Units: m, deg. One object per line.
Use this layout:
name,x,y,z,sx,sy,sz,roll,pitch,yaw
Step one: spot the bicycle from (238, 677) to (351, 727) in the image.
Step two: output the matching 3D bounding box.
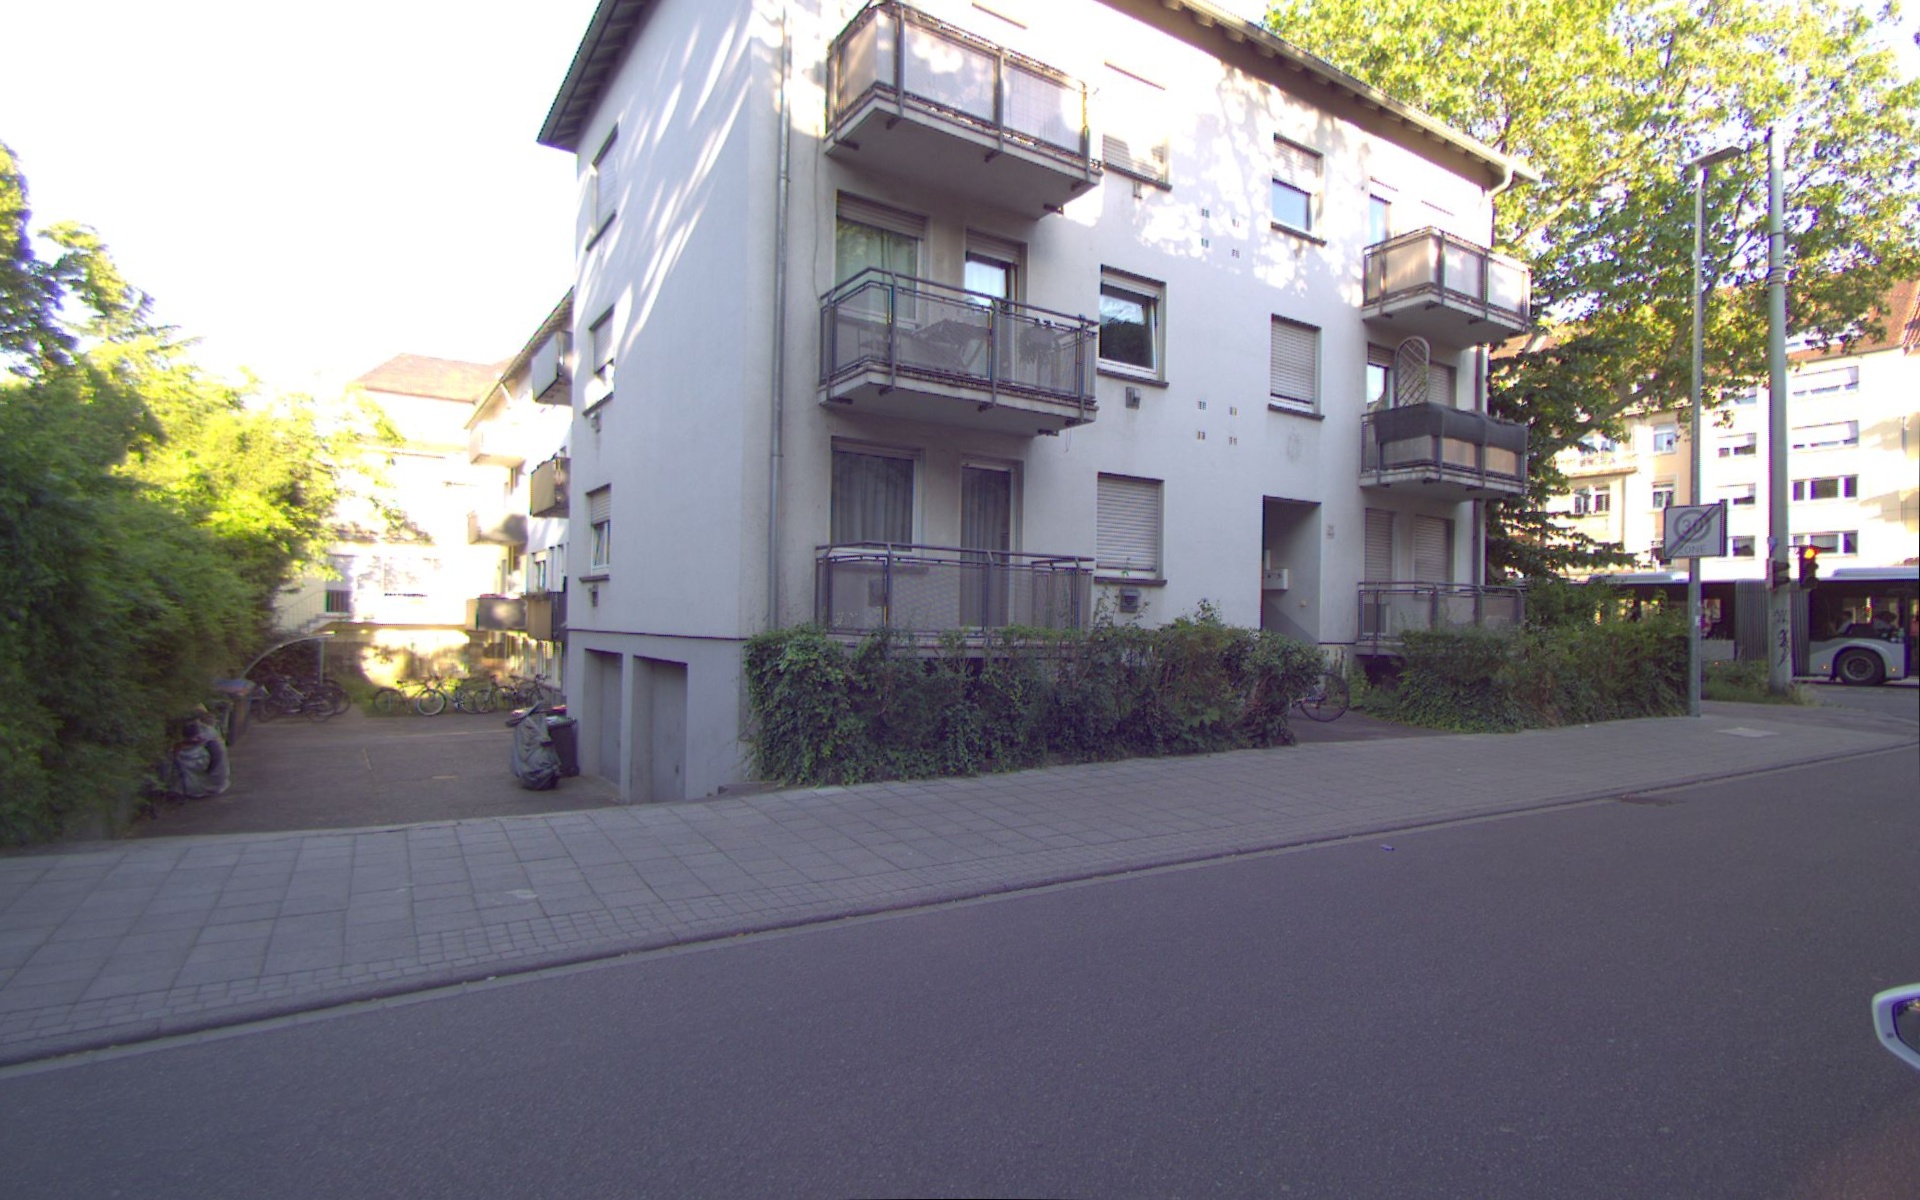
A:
bicycle,-16.519,2.521,25.006,2.268,1.148,0.689,2,-4,-30

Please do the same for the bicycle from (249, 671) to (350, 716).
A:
bicycle,-18.558,2.617,28.290,2.311,1.192,0.689,2,-4,-30

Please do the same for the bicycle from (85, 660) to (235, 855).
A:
bicycle,-9.774,1.757,12.467,0.961,1.917,4.156,1,-2,-32

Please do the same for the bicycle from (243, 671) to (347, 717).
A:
bicycle,-18.211,2.556,27.566,2.311,1.192,0.689,2,-4,-30

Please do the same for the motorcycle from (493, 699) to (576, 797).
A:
motorcycle,-6.578,2.241,15.498,0.739,1.313,1.563,2,-2,-41

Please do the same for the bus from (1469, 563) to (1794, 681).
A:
bus,20.893,0.684,31.831,2.885,3.243,8.116,1,-1,-37

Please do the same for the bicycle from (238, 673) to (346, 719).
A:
bicycle,-17.785,2.536,26.820,2.311,1.148,0.689,2,-4,-30

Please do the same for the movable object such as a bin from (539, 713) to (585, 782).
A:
movable object such as a bin,-6.575,2.417,16.580,0.606,1.051,0.534,1,-3,-34

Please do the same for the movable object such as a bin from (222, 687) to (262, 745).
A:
movable object such as a bin,-14.668,2.353,20.536,0.606,1.129,0.795,1,-3,-33

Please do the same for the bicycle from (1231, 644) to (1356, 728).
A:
bicycle,4.662,1.184,14.065,1.590,1.022,0.517,3,1,20

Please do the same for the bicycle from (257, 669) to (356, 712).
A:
bicycle,-18.830,2.602,29.018,2.311,1.192,0.689,2,-4,-30

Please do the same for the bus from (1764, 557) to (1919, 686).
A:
bus,26.446,0.536,24.451,2.885,3.243,10.376,1,-1,-37

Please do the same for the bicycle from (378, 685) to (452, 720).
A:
bicycle,-14.750,2.758,27.227,1.734,0.890,0.561,2,-4,-30

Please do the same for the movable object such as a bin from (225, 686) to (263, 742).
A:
movable object such as a bin,-15.109,2.387,21.205,0.606,1.129,0.795,1,-3,-33

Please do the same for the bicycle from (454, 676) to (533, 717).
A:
bicycle,-13.098,2.700,28.229,1.982,1.085,0.561,2,-4,-30

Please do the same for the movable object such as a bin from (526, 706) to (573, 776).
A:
movable object such as a bin,-7.101,2.420,17.361,0.606,1.129,0.795,1,-3,-33

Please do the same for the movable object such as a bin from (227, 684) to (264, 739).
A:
movable object such as a bin,-15.543,2.420,21.867,0.606,1.129,0.795,1,-3,-33
